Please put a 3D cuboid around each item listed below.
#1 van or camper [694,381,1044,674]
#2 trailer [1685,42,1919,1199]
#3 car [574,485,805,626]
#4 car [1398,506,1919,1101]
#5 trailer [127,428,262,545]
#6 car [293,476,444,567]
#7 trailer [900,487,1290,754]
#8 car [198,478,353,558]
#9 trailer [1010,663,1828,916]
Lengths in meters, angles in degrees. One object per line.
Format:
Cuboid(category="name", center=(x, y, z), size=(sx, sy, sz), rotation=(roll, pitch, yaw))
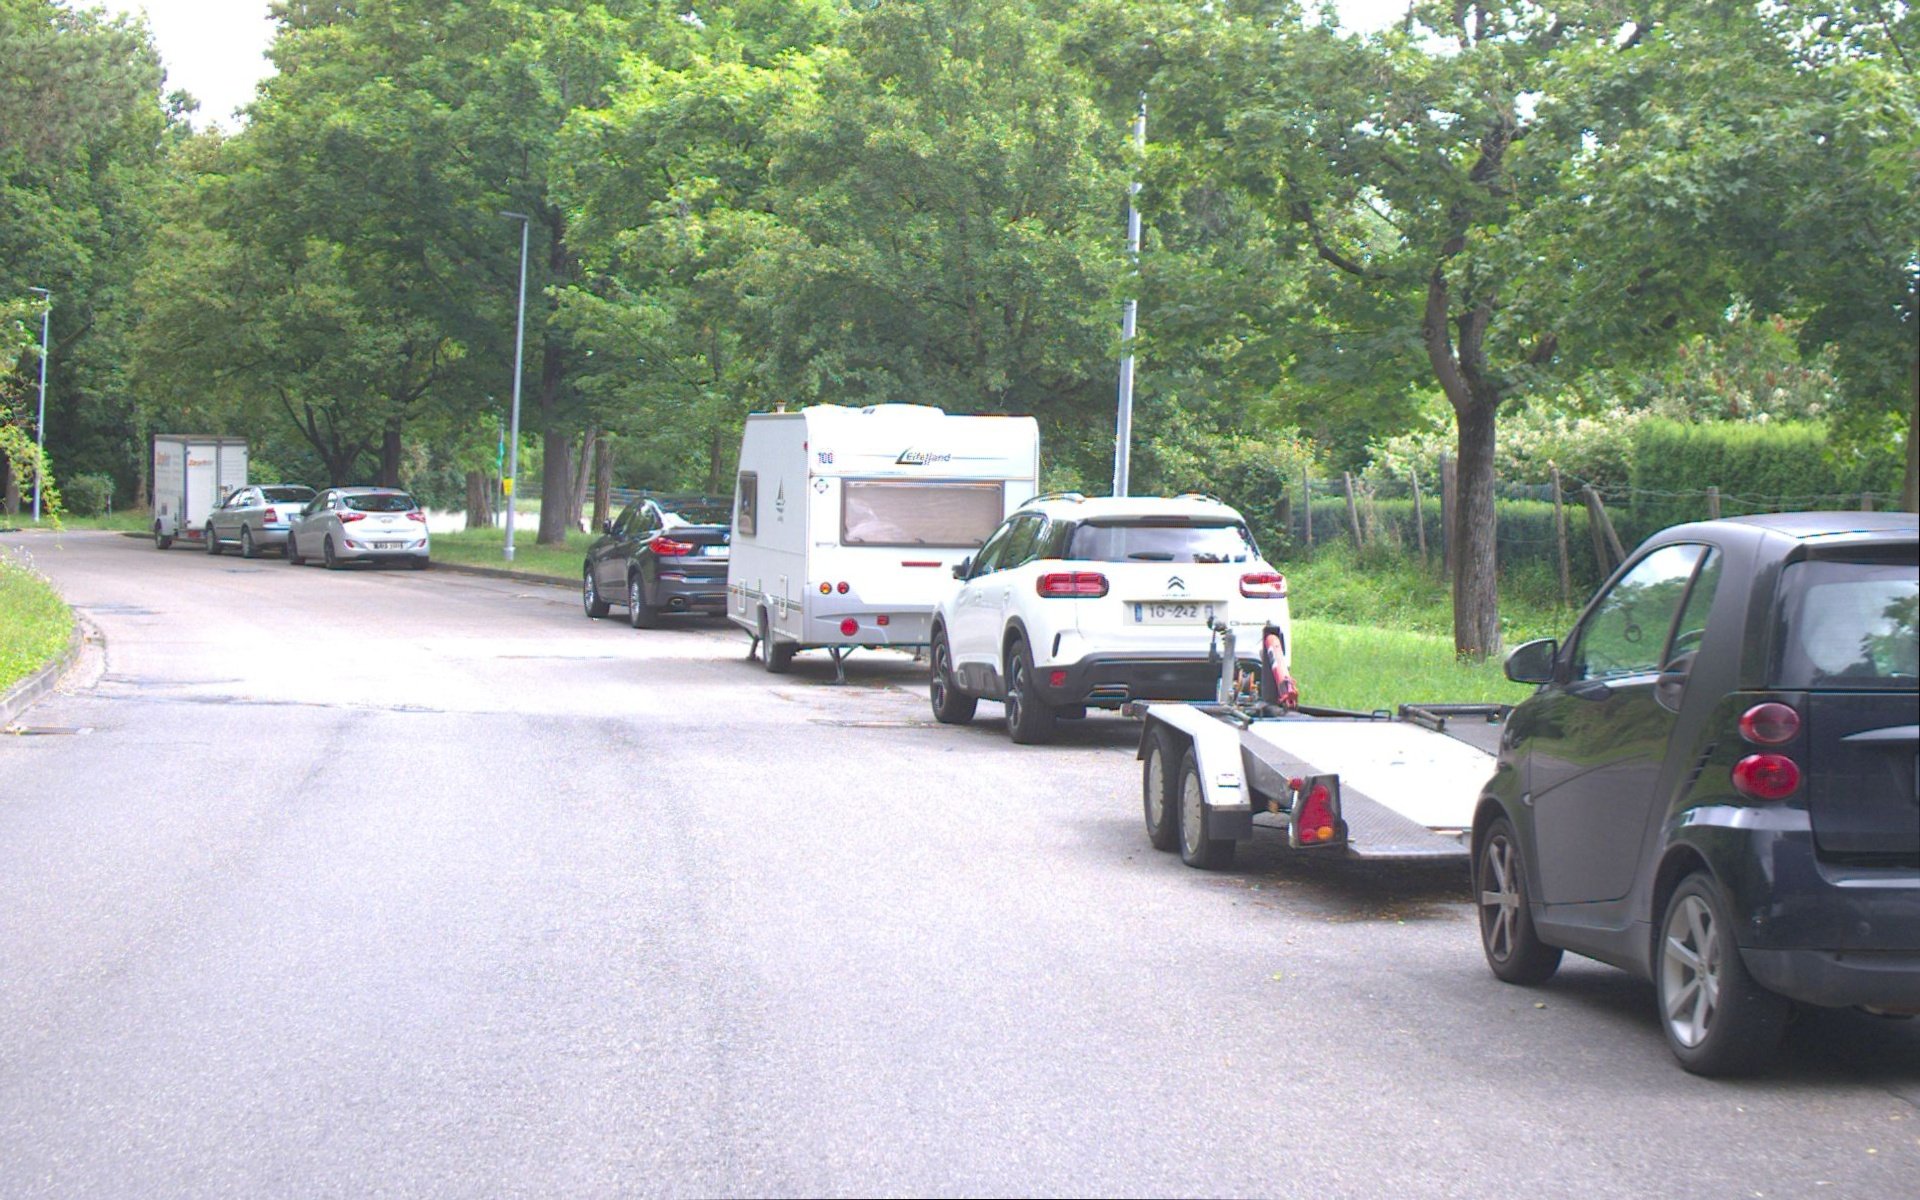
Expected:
Cuboid(category="van or camper", center=(-1.028, -0.712, 33.631), size=(2.160, 2.527, 6.034), rotation=(2, 1, -13))
Cuboid(category="trailer", center=(2.776, 0.222, 5.481), size=(2.106, 2.353, 4.702), rotation=(0, 3, -2))
Cuboid(category="car", center=(-3.455, -0.591, 43.091), size=(1.848, 1.637, 4.532), rotation=(1, 2, -18))
Cuboid(category="car", center=(2.621, 0.542, 10.606), size=(1.729, 1.517, 3.405), rotation=(2, 0, -6))
Cuboid(category="trailer", center=(-16.369, -2.431, 73.418), size=(1.760, 2.418, 3.888), rotation=(0, 2, -29))
Cuboid(category="car", center=(-10.813, -1.399, 62.625), size=(1.902, 1.471, 4.060), rotation=(2, -1, -21))
Cuboid(category="trailer", center=(0.850, 0.102, 24.648), size=(1.772, 1.725, 4.652), rotation=(0, 1, -11))
Cuboid(category="car", center=(-13.712, -1.656, 68.719), size=(1.741, 1.520, 4.636), rotation=(0, 2, -28))
Cuboid(category="trailer", center=(1.811, 0.786, 16.257), size=(2.103, 0.649, 6.403), rotation=(2, 1, -9))
